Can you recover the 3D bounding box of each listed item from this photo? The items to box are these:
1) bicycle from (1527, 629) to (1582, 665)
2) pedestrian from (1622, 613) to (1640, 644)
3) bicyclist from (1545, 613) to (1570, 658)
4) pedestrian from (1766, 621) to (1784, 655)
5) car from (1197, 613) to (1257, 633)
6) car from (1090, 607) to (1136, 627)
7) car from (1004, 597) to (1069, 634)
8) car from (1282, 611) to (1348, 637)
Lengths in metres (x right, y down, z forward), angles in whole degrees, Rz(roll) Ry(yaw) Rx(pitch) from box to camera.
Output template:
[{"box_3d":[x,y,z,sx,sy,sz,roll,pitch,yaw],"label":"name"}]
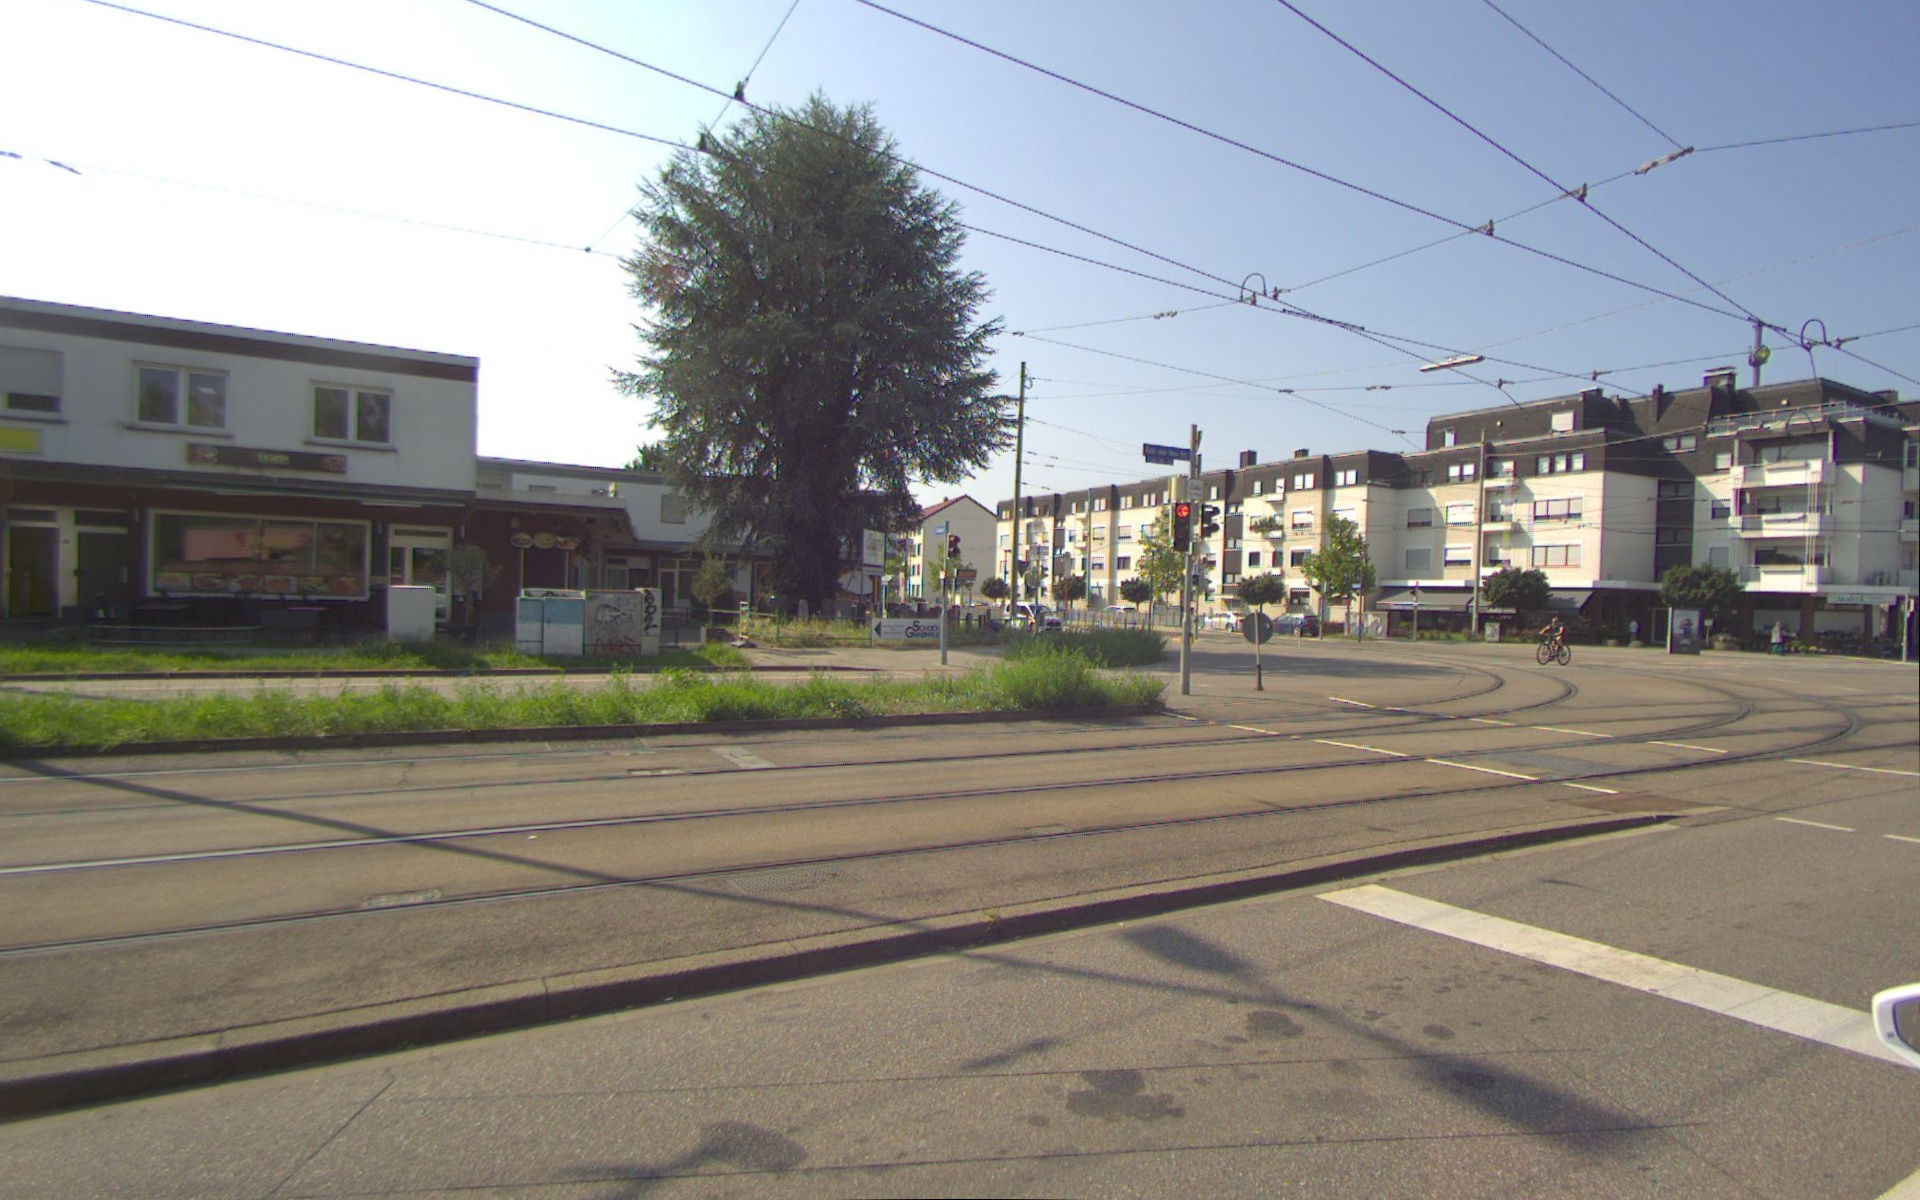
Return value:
[{"box_3d":[20.387,1.599,34.451,2.180,1.195,0.573,1,-1,-28],"label":"bicycle"},{"box_3d":[39.185,1.675,58.661,0.689,1.764,0.677,2,-2,-28],"label":"pedestrian"},{"box_3d":[20.550,1.224,34.543,0.483,1.543,0.566,2,-2,-28],"label":"bicyclist"},{"box_3d":[42.533,1.993,52.428,0.589,1.768,0.565,0,-2,28],"label":"pedestrian"},{"box_3d":[18.512,1.609,69.796,1.653,1.316,4.091,2,-2,-29],"label":"car"},{"box_3d":[12.427,1.392,81.638,1.653,1.500,3.888,2,-2,-29],"label":"car"},{"box_3d":[4.244,0.842,56.499,1.800,1.911,3.998,2,1,-27],"label":"car"},{"box_3d":[24.881,1.656,70.429,1.907,1.527,4.090,2,1,-29],"label":"car"}]
